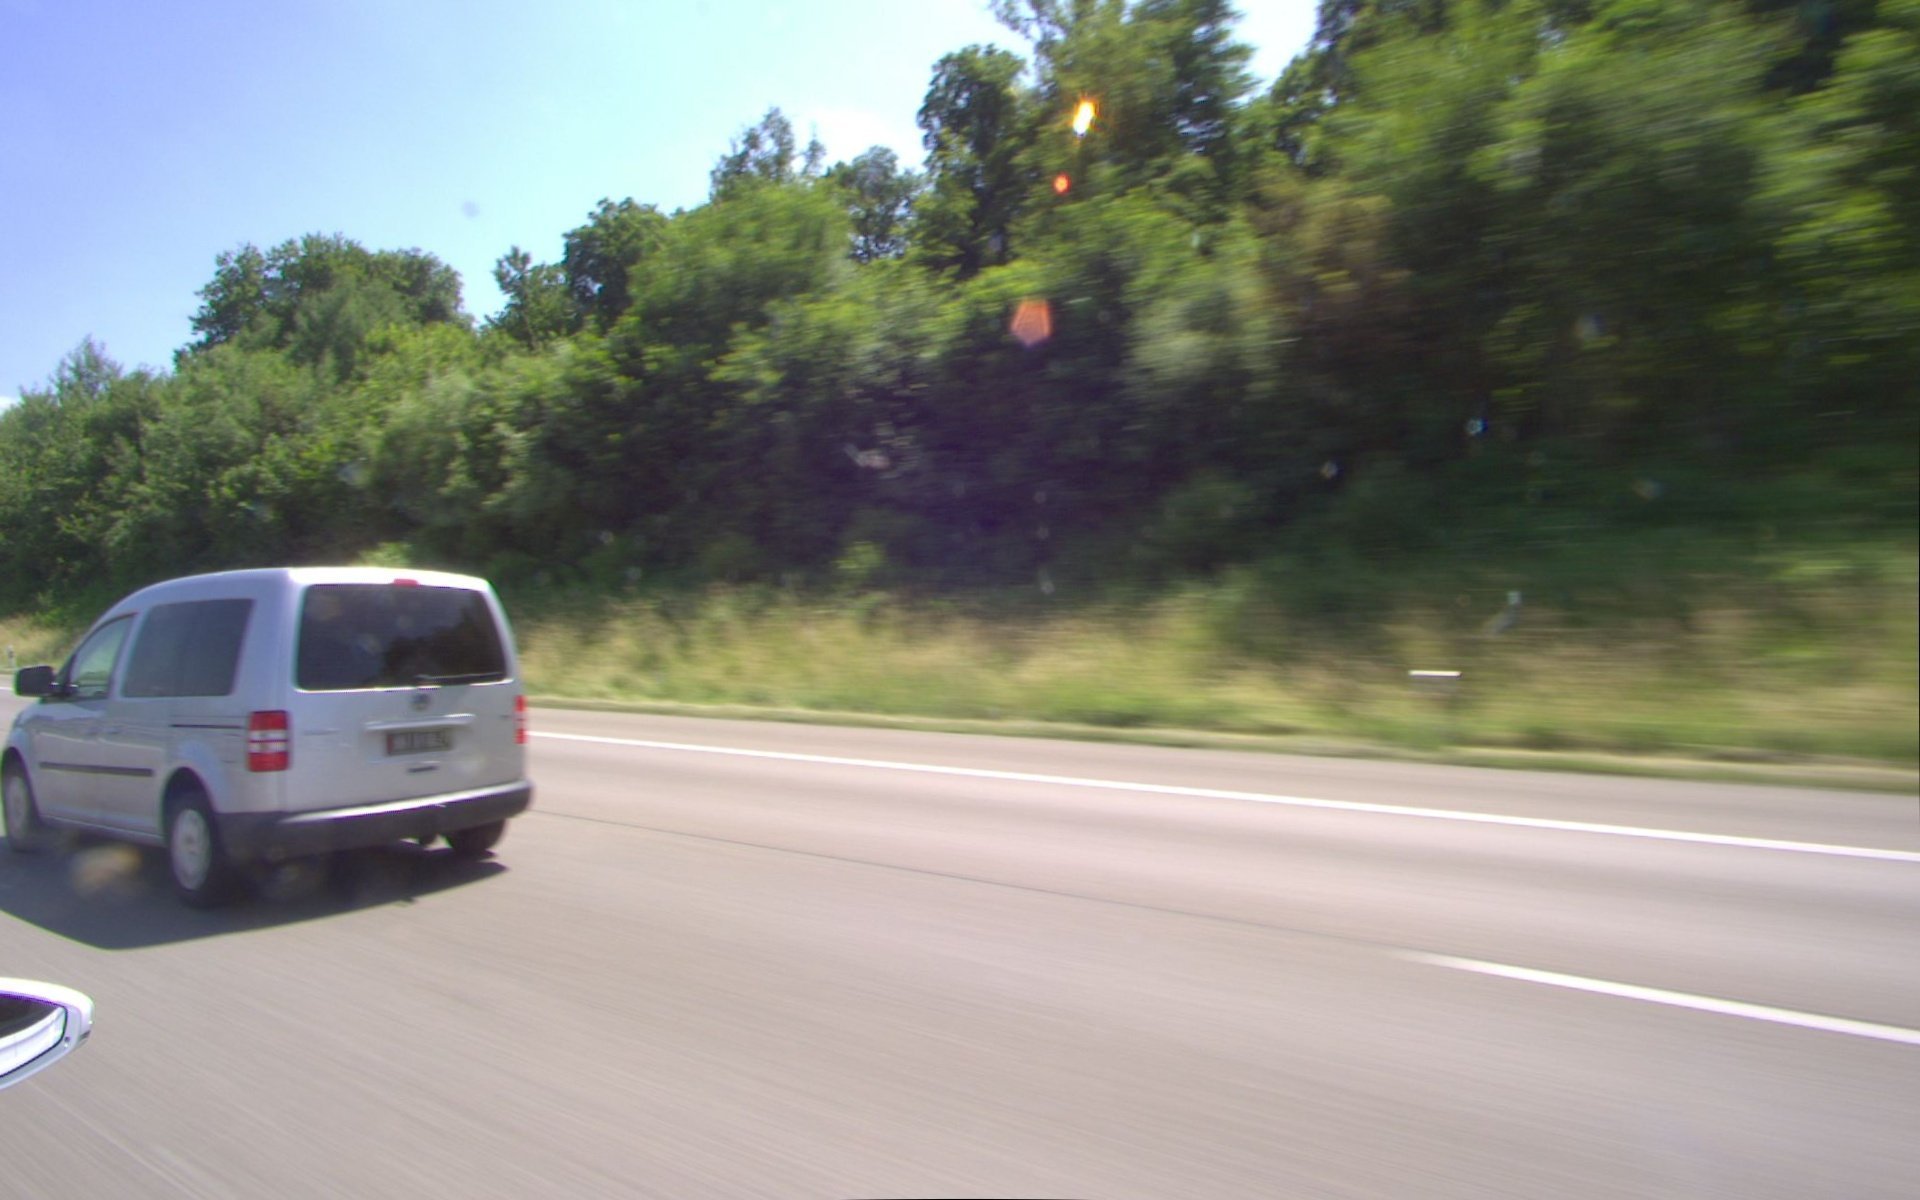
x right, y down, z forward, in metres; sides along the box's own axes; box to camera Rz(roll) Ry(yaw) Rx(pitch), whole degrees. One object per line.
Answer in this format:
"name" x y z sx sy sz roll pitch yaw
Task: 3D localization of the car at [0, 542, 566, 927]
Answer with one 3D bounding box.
"car" -4.945 0.704 6.836 4.732 1.853 1.743 -1 -2 32
